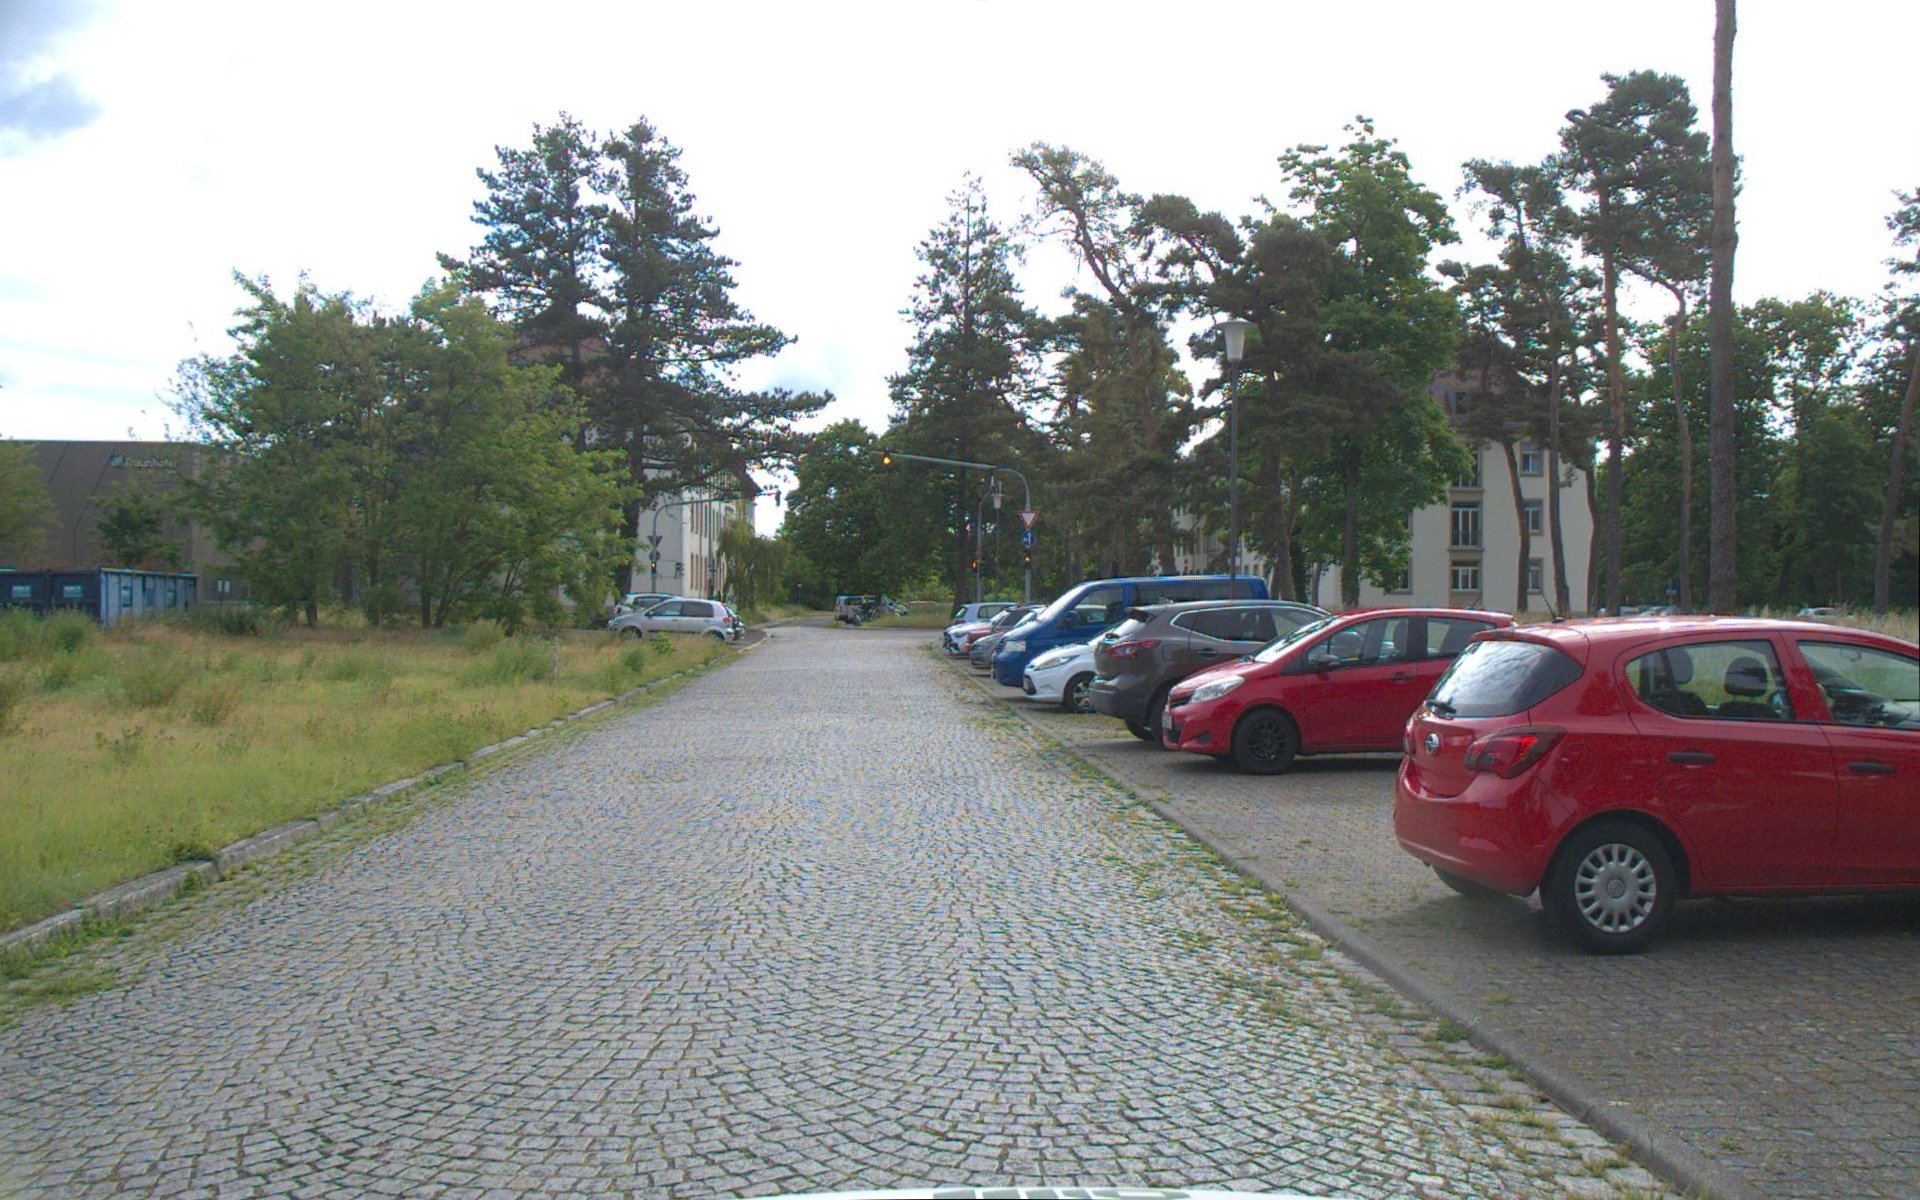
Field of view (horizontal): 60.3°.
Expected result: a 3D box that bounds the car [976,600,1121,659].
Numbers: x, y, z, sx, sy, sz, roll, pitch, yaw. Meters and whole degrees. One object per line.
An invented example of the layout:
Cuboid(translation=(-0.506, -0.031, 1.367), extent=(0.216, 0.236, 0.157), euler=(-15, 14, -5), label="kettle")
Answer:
Cuboid(translation=(2.301, 0.764, 43.534), extent=(3.601, 1.475, 1.522), euler=(-1, 0, -6), label="car")

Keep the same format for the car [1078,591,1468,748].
Cuboid(translation=(3.440, 0.738, 18.566), extent=(3.951, 1.580, 1.748), euler=(-1, 0, -6), label="car")

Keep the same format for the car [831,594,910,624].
Cuboid(translation=(-6.375, 0.626, 117.653), extent=(5.351, 2.049, 2.261), euler=(1, 0, -13), label="car")

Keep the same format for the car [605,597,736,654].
Cuboid(translation=(-8.611, 0.766, 49.474), extent=(3.749, 1.600, 1.562), euler=(-1, 0, -7), label="car")

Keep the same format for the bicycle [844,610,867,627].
Cuboid(translation=(-6.030, 1.081, 95.658), extent=(0.614, 0.961, 1.645), euler=(1, 0, -31), label="bicycle")

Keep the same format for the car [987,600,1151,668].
Cuboid(translation=(2.512, 0.771, 38.550), extent=(3.601, 1.475, 1.522), euler=(-1, 0, -6), label="car")

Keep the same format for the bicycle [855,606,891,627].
Cuboid(translation=(-5.254, 1.008, 99.611), extent=(2.097, 1.236, 0.620), euler=(1, -1, -9), label="bicycle")

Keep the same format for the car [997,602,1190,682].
Cuboid(translation=(2.609, 0.807, 32.779), extent=(3.601, 1.475, 1.522), euler=(-1, 0, -6), label="car")

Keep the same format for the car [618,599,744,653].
Cuboid(translation=(-8.724, 0.810, 51.887), extent=(3.746, 1.600, 1.563), euler=(-1, 0, -5), label="car")

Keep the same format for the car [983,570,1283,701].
Cuboid(translation=(2.811, 0.566, 27.508), extent=(4.662, 1.989, 1.929), euler=(-1, 0, -6), label="car")

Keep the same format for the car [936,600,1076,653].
Cuboid(translation=(1.333, 0.775, 48.584), extent=(3.894, 1.446, 1.617), euler=(-1, 0, -8), label="car")

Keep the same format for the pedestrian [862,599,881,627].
Cuboid(translation=(-5.361, 0.789, 100.000), extent=(1.014, 1.642, 0.756), euler=(1, -1, -9), label="pedestrian")

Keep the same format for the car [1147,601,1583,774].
Cuboid(translation=(3.806, 0.794, 15.936), extent=(3.717, 1.486, 1.750), euler=(-1, 0, -4), label="car")

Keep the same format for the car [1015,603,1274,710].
Cuboid(translation=(2.737, 0.817, 24.904), extent=(3.601, 1.475, 1.612), euler=(-1, 0, -6), label="car")

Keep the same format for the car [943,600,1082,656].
Cuboid(translation=(1.431, 0.764, 45.730), extent=(3.603, 1.446, 1.521), euler=(-1, 0, -8), label="car")

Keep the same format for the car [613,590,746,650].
Cuboid(translation=(-9.256, 0.651, 54.843), extent=(4.178, 1.873, 1.742), euler=(-1, 0, -5), label="car")

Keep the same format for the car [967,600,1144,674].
Cuboid(translation=(2.017, 0.778, 35.522), extent=(3.601, 1.475, 1.522), euler=(-1, 0, -6), label="car")

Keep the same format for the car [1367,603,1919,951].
Cuboid(translation=(4.185, 0.778, 8.360), extent=(3.751, 1.486, 1.777), euler=(-1, 0, -5), label="car")

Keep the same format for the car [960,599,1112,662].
Cuboid(translation=(1.871, 0.752, 41.216), extent=(3.601, 1.475, 1.522), euler=(-1, 0, -6), label="car")

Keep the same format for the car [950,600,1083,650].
Cuboid(translation=(1.722, 0.764, 51.266), extent=(3.894, 1.446, 1.617), euler=(-1, 0, -8), label="car")
